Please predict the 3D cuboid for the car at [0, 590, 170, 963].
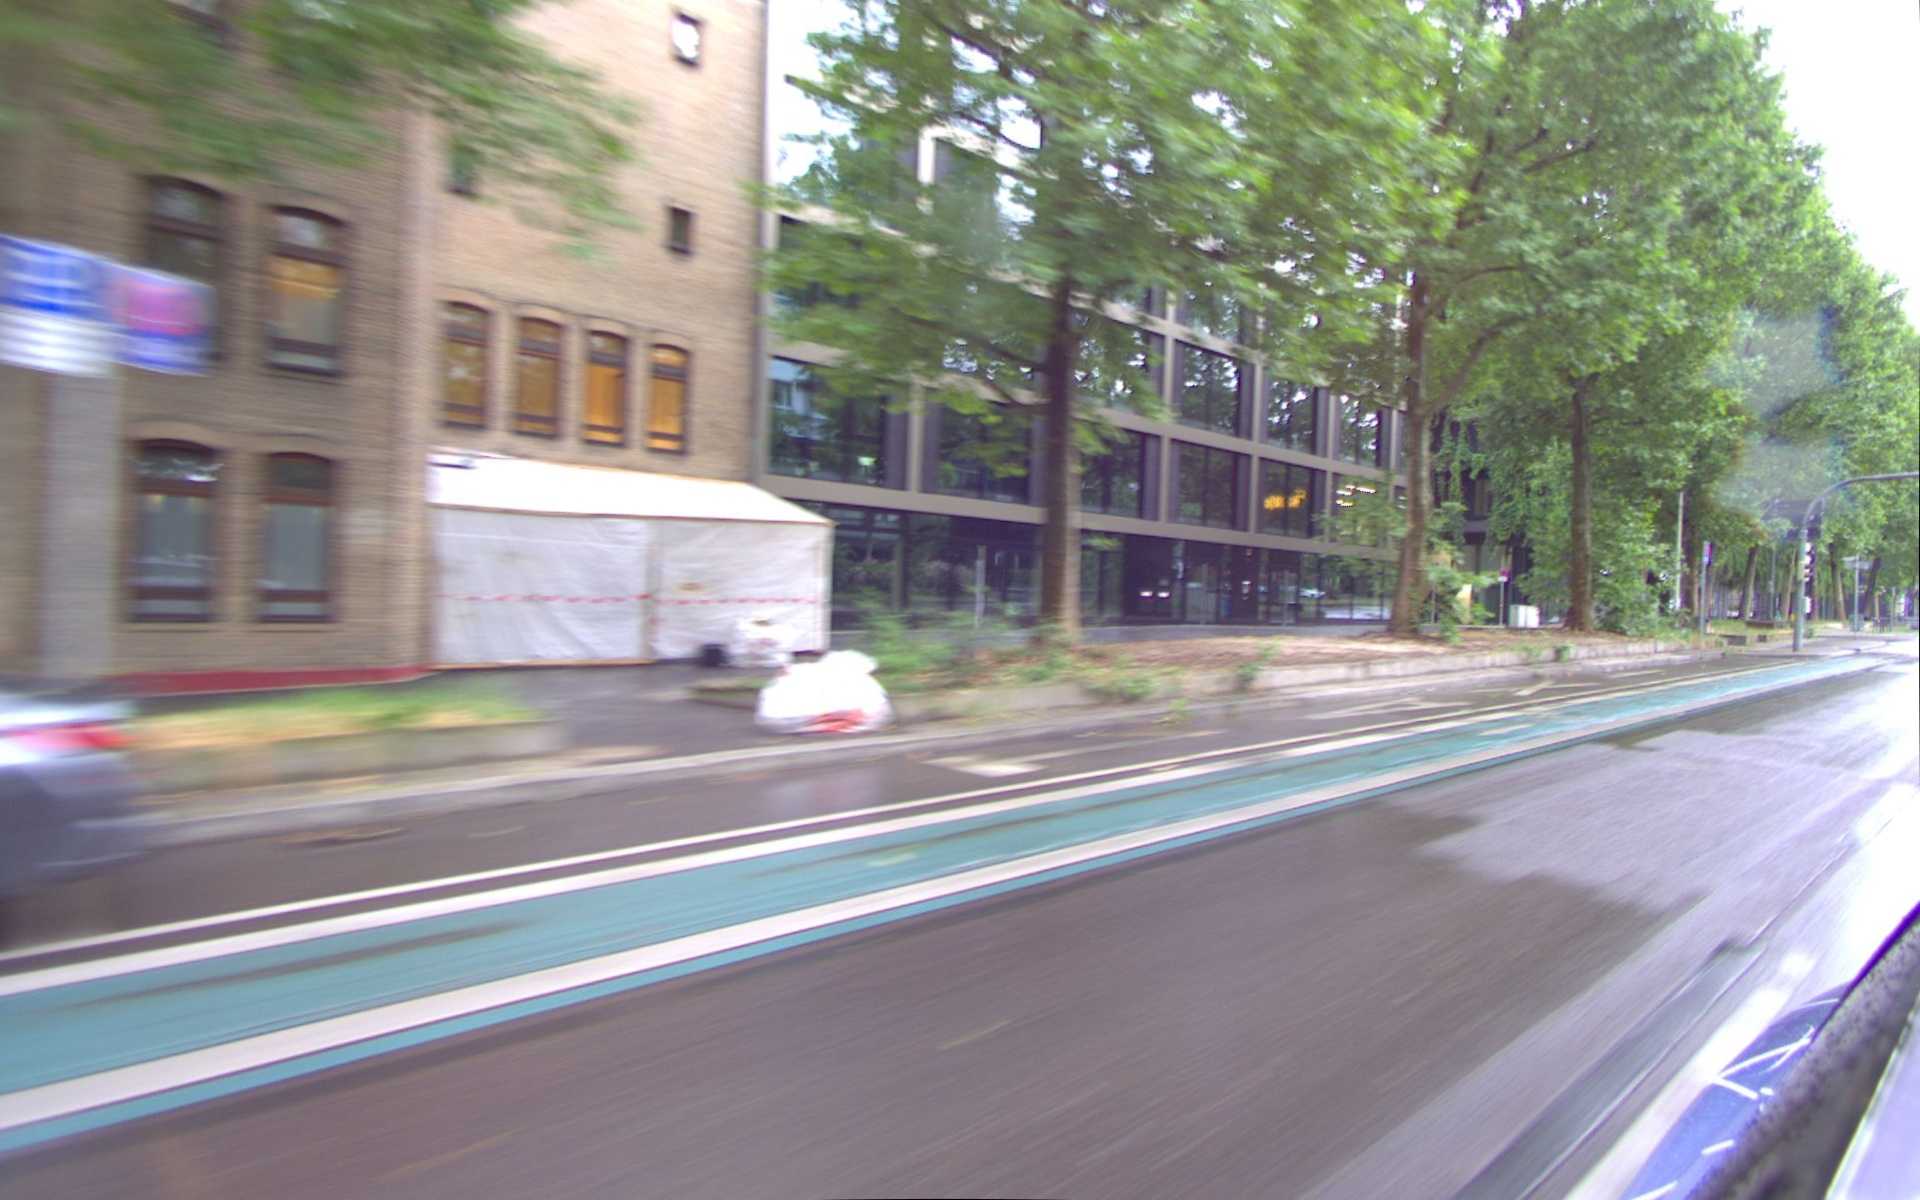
[{"bbox_3d":[-5.599,0.684,3.438,4.507,1.451,1.745,0,0,-42],"label":"car"}]
